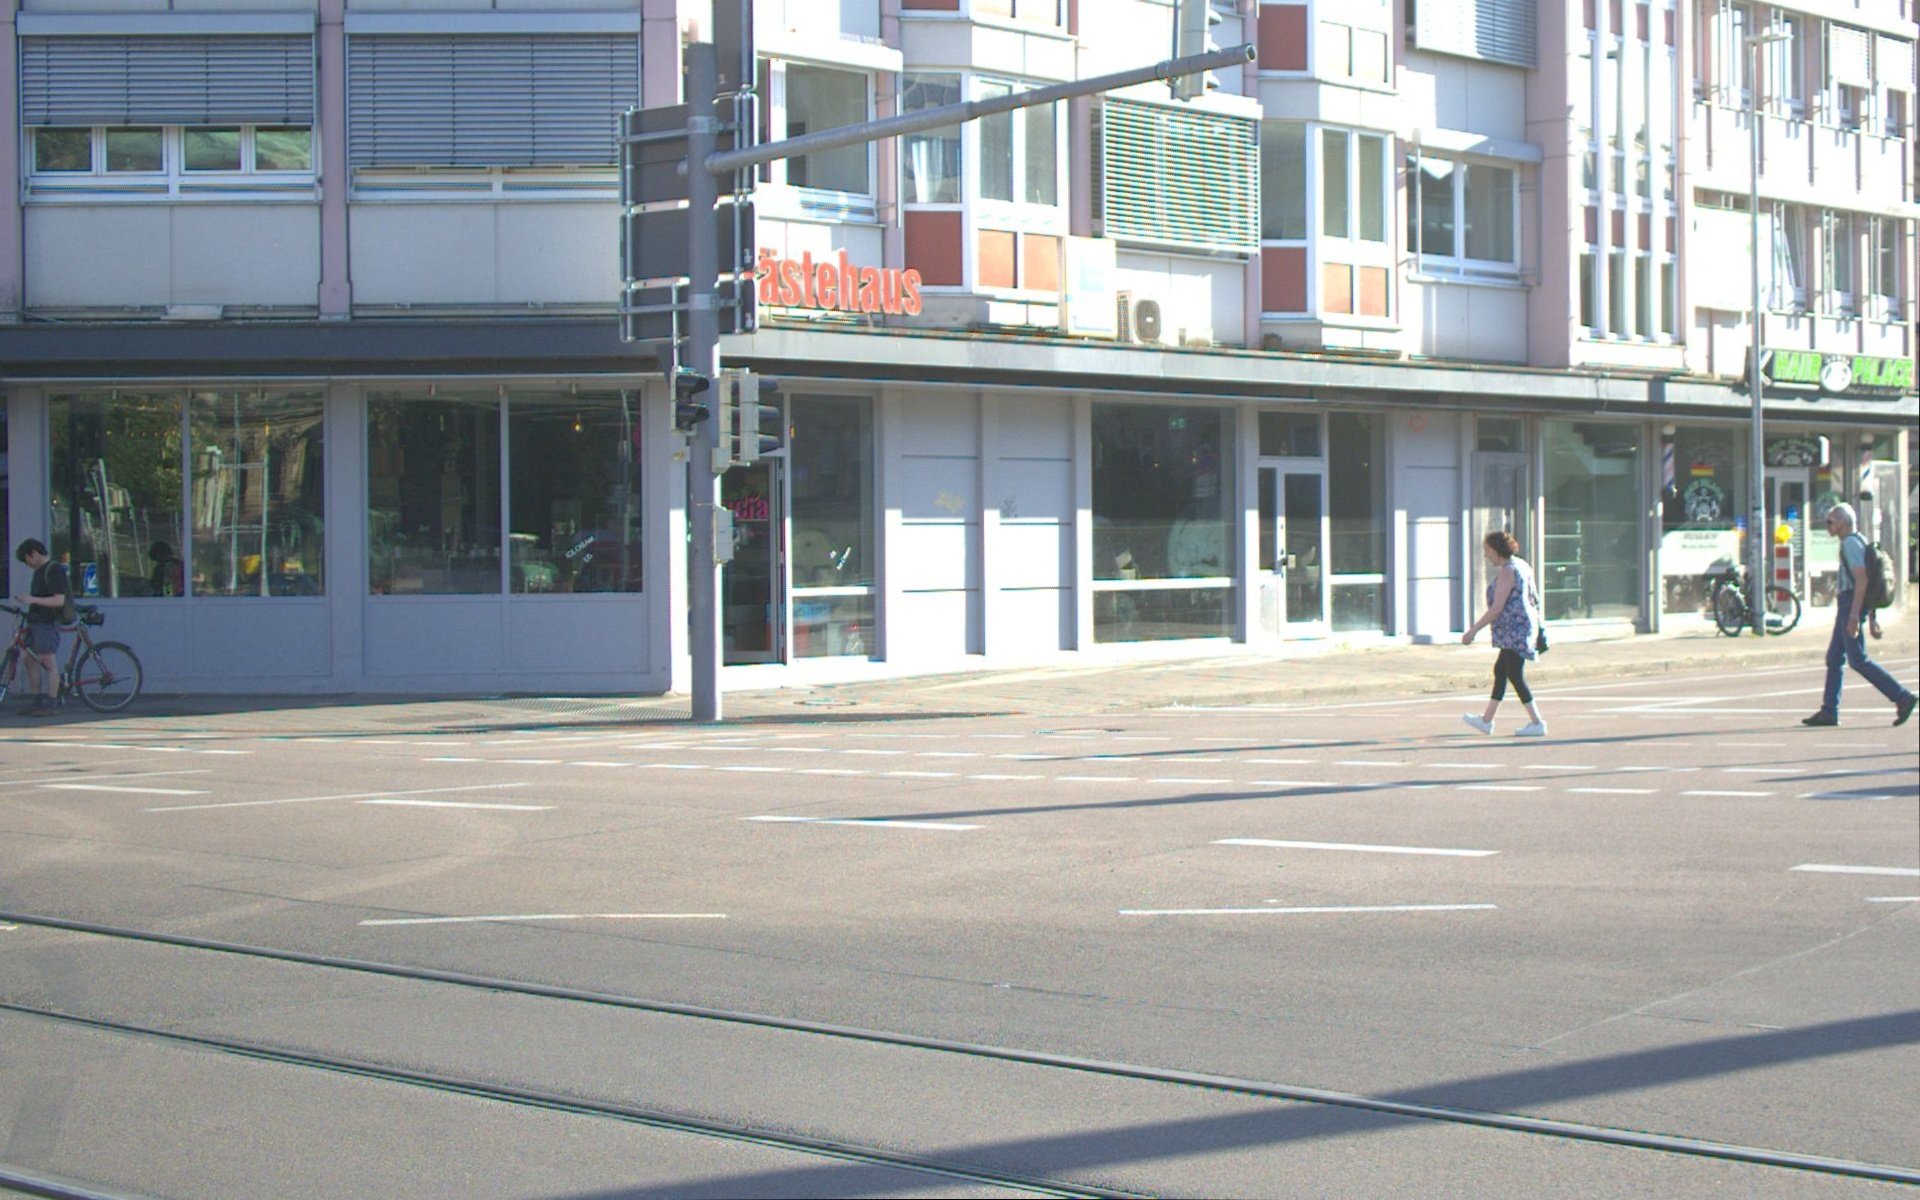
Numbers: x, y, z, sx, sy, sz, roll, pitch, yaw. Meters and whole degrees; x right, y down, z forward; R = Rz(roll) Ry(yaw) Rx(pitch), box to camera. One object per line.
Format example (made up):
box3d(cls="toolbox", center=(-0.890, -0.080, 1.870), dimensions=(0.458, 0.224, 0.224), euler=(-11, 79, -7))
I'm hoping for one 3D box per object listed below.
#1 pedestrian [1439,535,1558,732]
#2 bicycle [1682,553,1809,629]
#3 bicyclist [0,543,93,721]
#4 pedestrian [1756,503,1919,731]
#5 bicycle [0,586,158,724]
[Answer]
box3d(cls="pedestrian", center=(4.141, 0.264, 26.394), dimensions=(0.854, 1.460, 0.686), euler=(1, -3, 11))
box3d(cls="bicycle", center=(11.373, -0.138, 49.745), dimensions=(2.085, 1.067, 0.452), euler=(-1, 2, -33))
box3d(cls="bicyclist", center=(-8.600, 0.288, 32.175), dimensions=(0.640, 1.591, 0.656), euler=(3, 5, 43))
box3d(cls="pedestrian", center=(7.012, 0.111, 27.029), dimensions=(1.197, 1.725, 0.854), euler=(2, 2, 35))
box3d(cls="bicycle", center=(-8.487, 0.504, 32.311), dimensions=(0.640, 1.141, 1.765), euler=(3, 5, 43))
